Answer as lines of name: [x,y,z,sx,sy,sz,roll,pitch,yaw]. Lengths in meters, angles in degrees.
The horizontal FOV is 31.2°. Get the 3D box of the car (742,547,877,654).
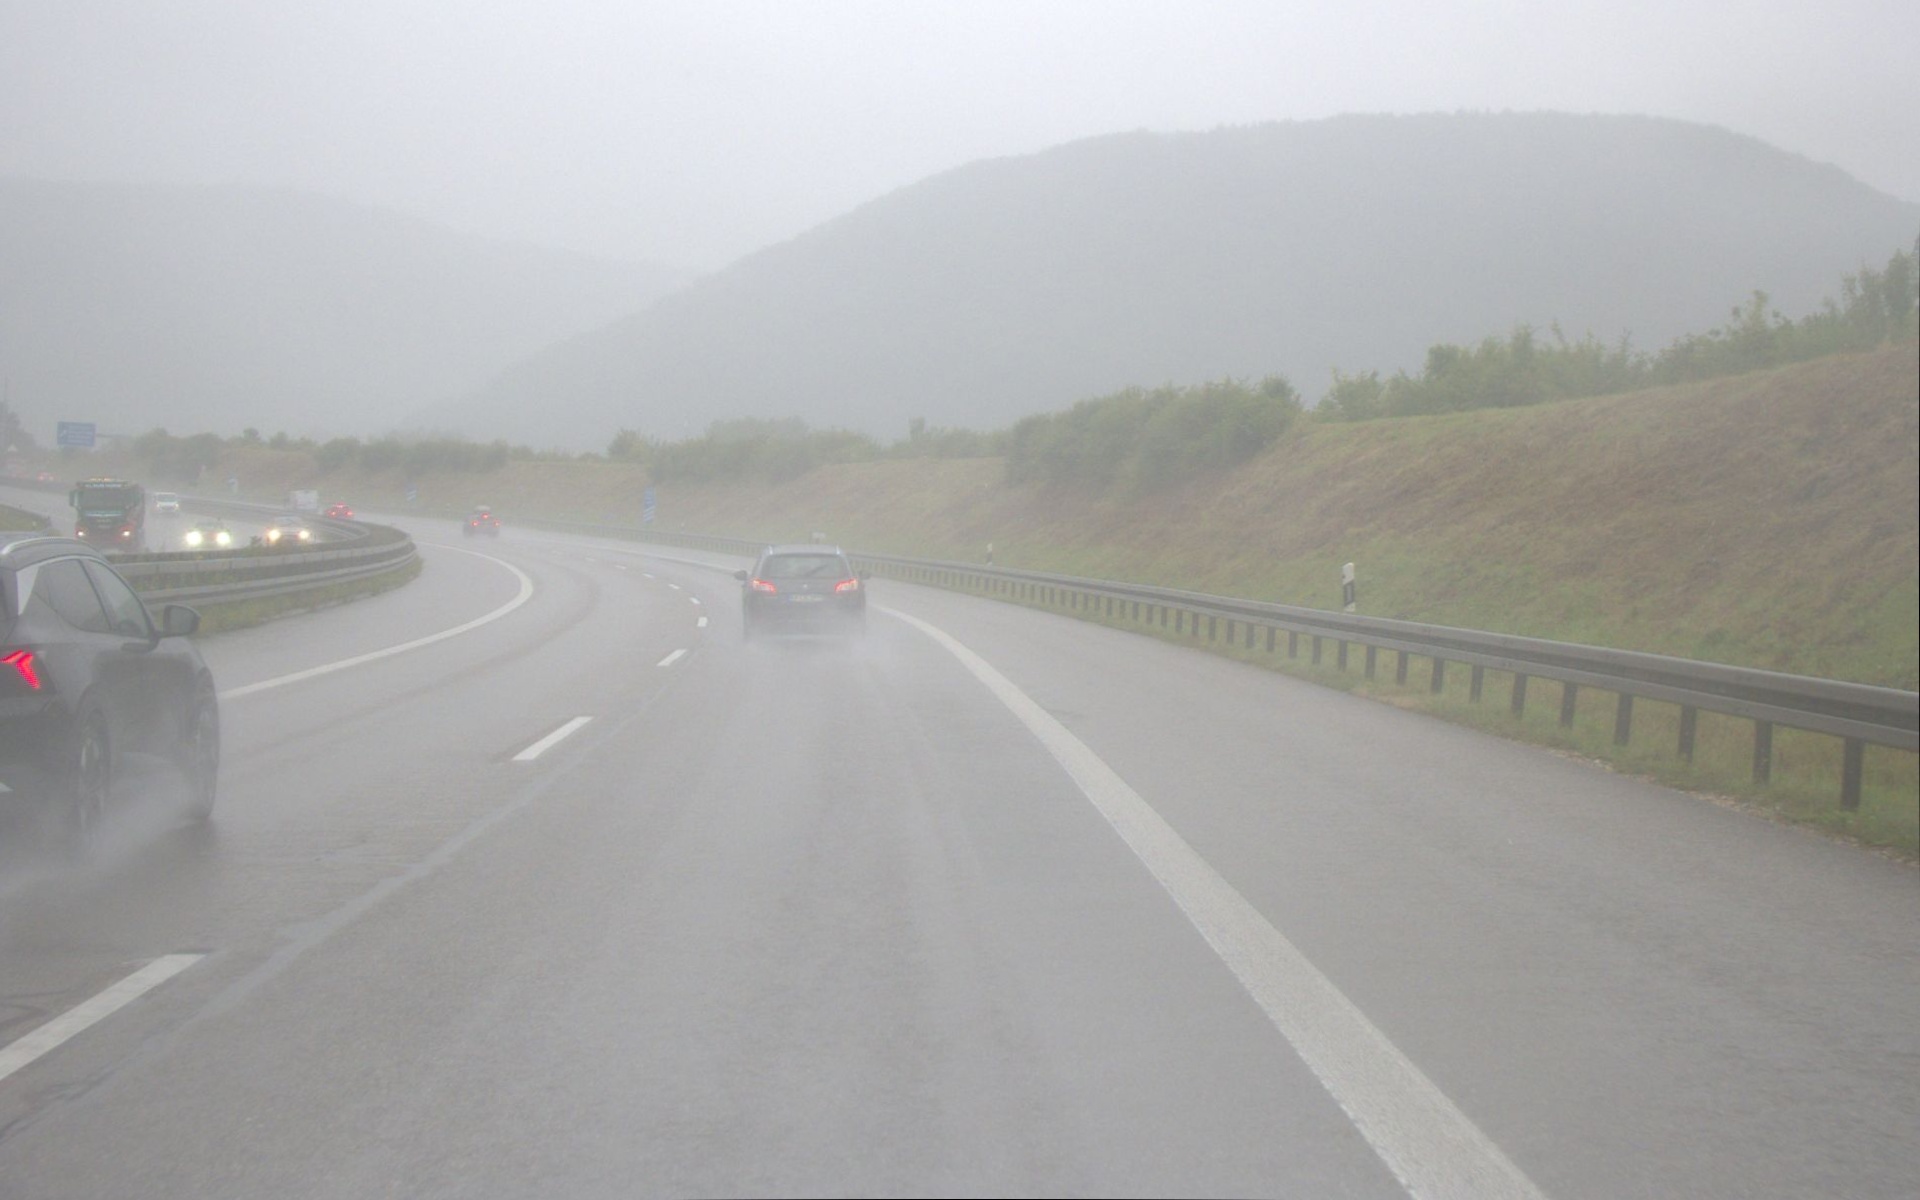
car: [-2.187,-0.018,50.821,1.679,1.467,3.814,2,1,2]

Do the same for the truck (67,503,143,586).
truck: [-37.180,-2.448,149.631,2.715,3.530,5.312,0,1,-8]

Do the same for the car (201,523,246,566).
car: [-34.926,-2.645,163.061,1.913,2.007,4.001,1,1,-10]

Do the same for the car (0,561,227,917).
car: [-5.102,0.573,17.320,2.405,1.510,4.785,2,1,-8]
